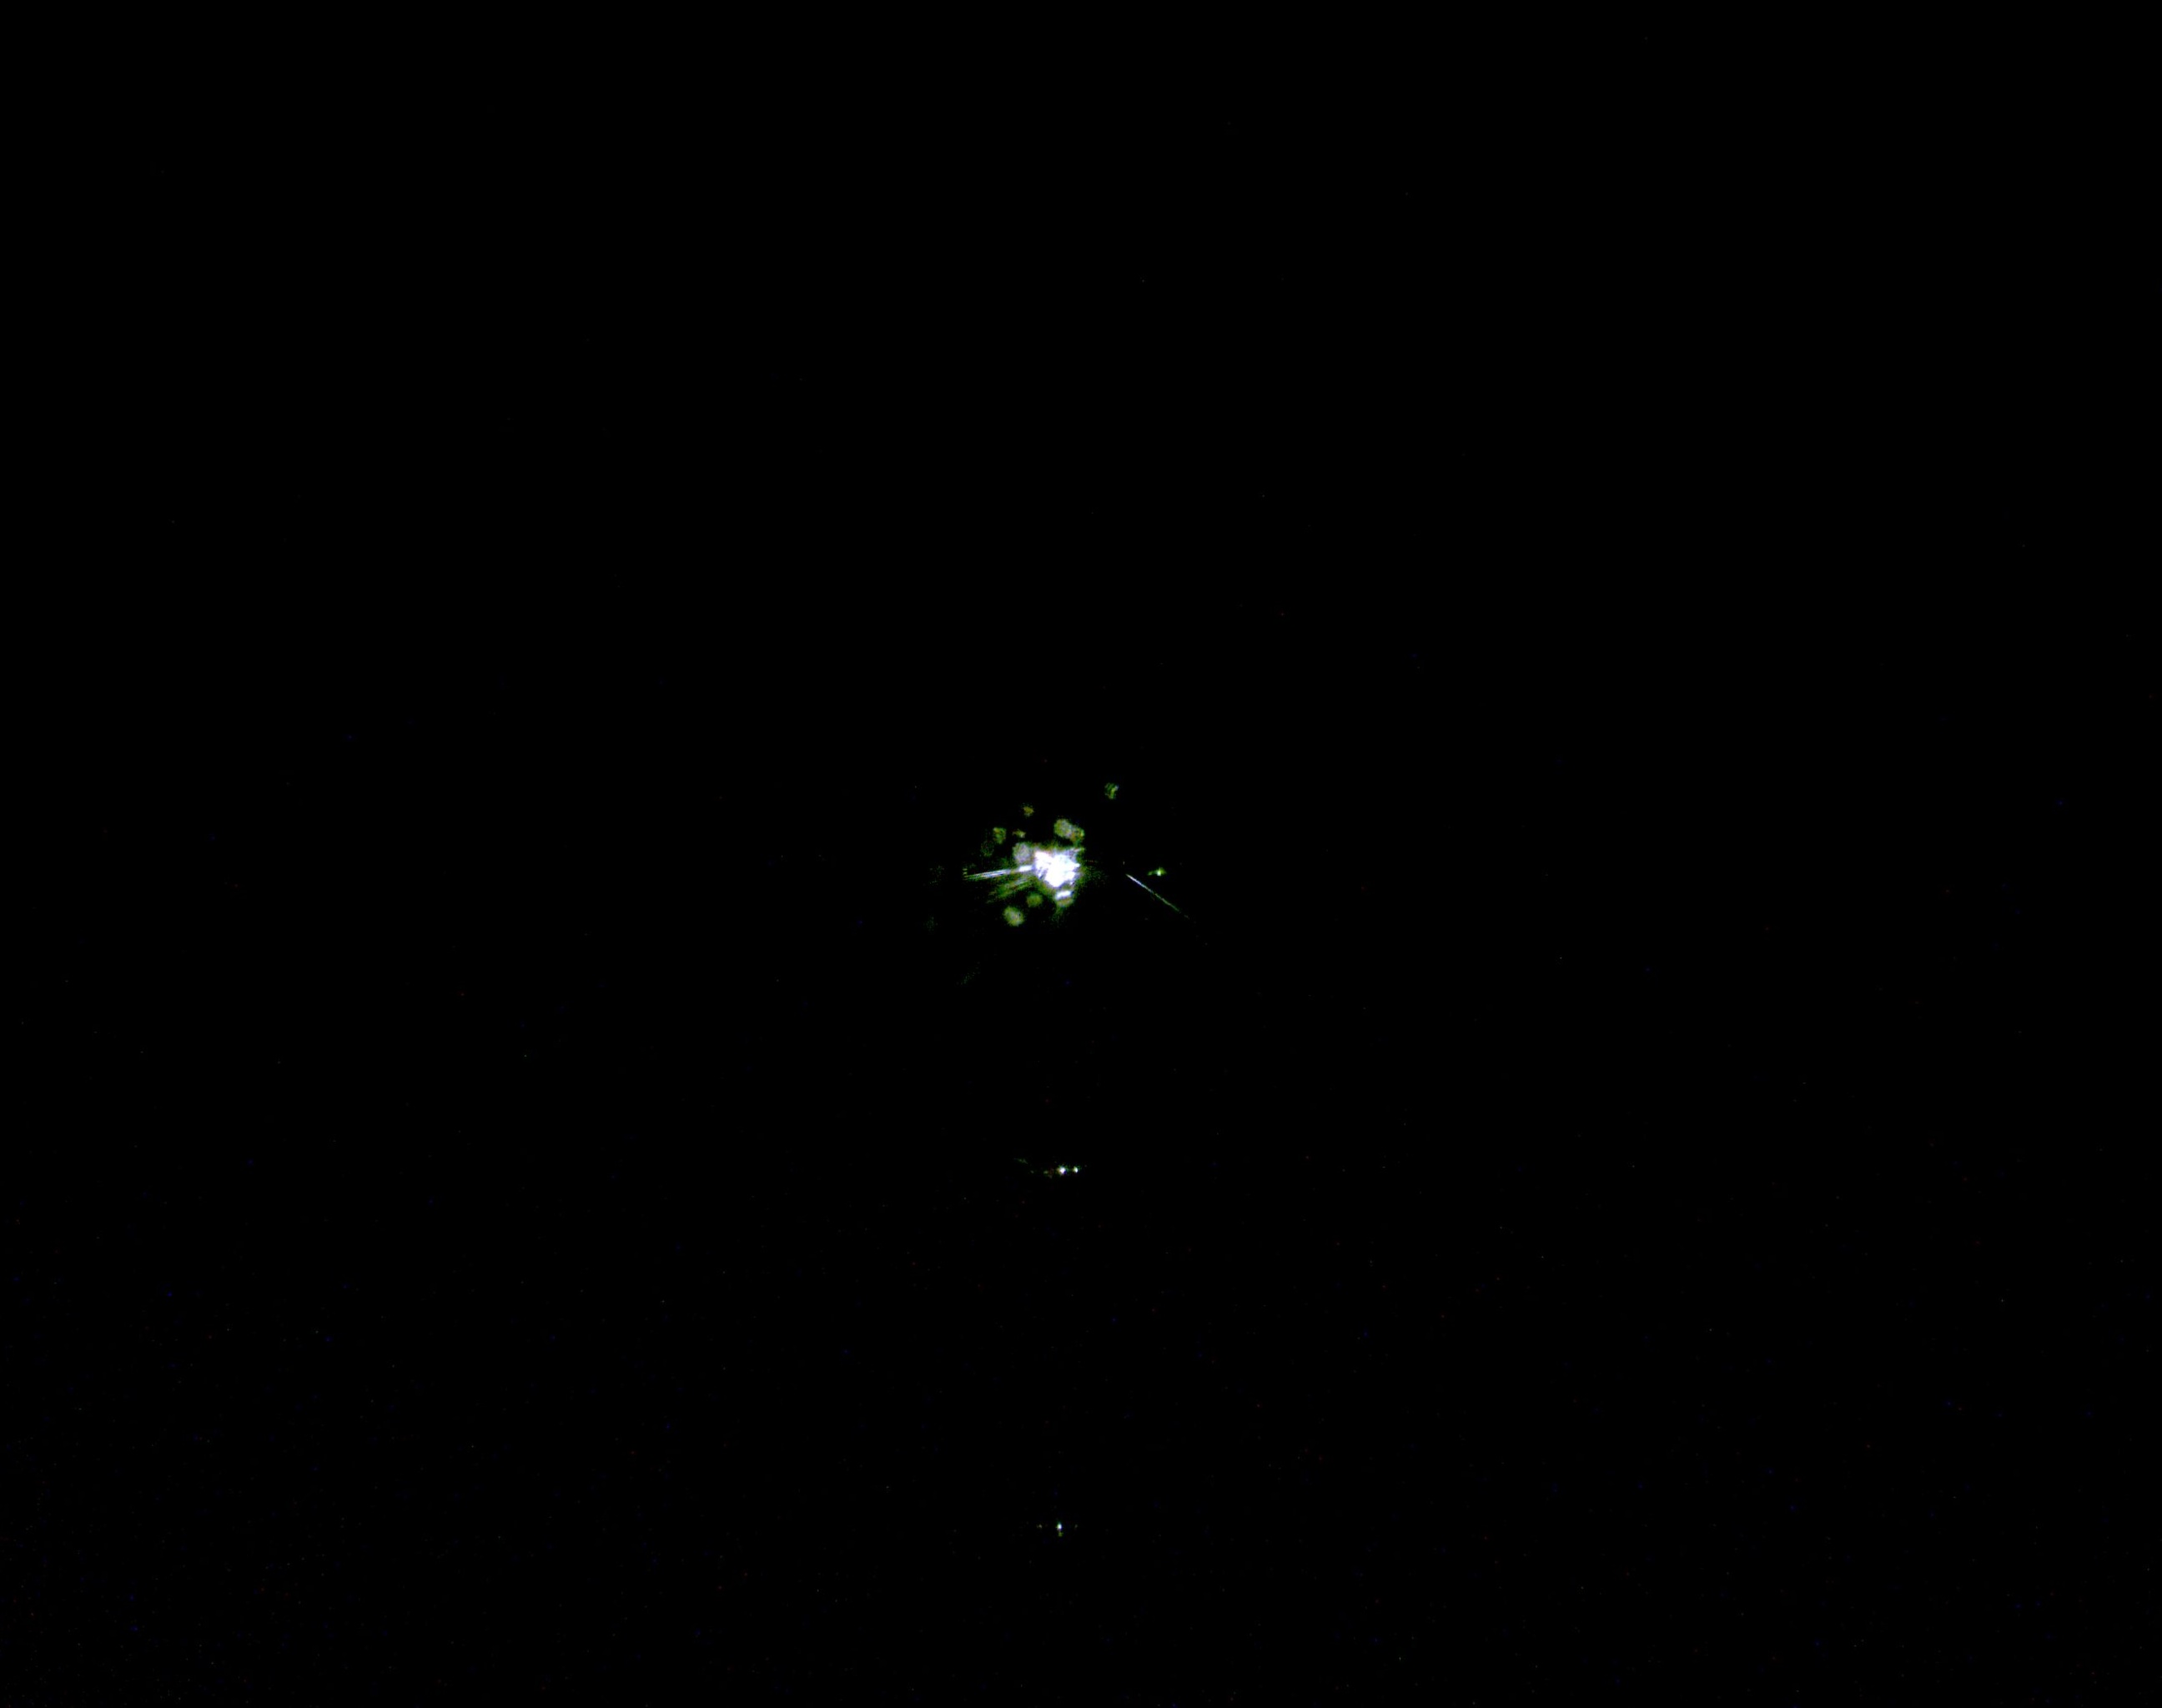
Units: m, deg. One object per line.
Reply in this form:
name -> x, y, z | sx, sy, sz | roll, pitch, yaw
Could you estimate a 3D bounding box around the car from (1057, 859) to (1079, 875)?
car -> -1.216, 1.254, 78.715 | 1.986, 1.448, 4.431 | 0, 0, 1
